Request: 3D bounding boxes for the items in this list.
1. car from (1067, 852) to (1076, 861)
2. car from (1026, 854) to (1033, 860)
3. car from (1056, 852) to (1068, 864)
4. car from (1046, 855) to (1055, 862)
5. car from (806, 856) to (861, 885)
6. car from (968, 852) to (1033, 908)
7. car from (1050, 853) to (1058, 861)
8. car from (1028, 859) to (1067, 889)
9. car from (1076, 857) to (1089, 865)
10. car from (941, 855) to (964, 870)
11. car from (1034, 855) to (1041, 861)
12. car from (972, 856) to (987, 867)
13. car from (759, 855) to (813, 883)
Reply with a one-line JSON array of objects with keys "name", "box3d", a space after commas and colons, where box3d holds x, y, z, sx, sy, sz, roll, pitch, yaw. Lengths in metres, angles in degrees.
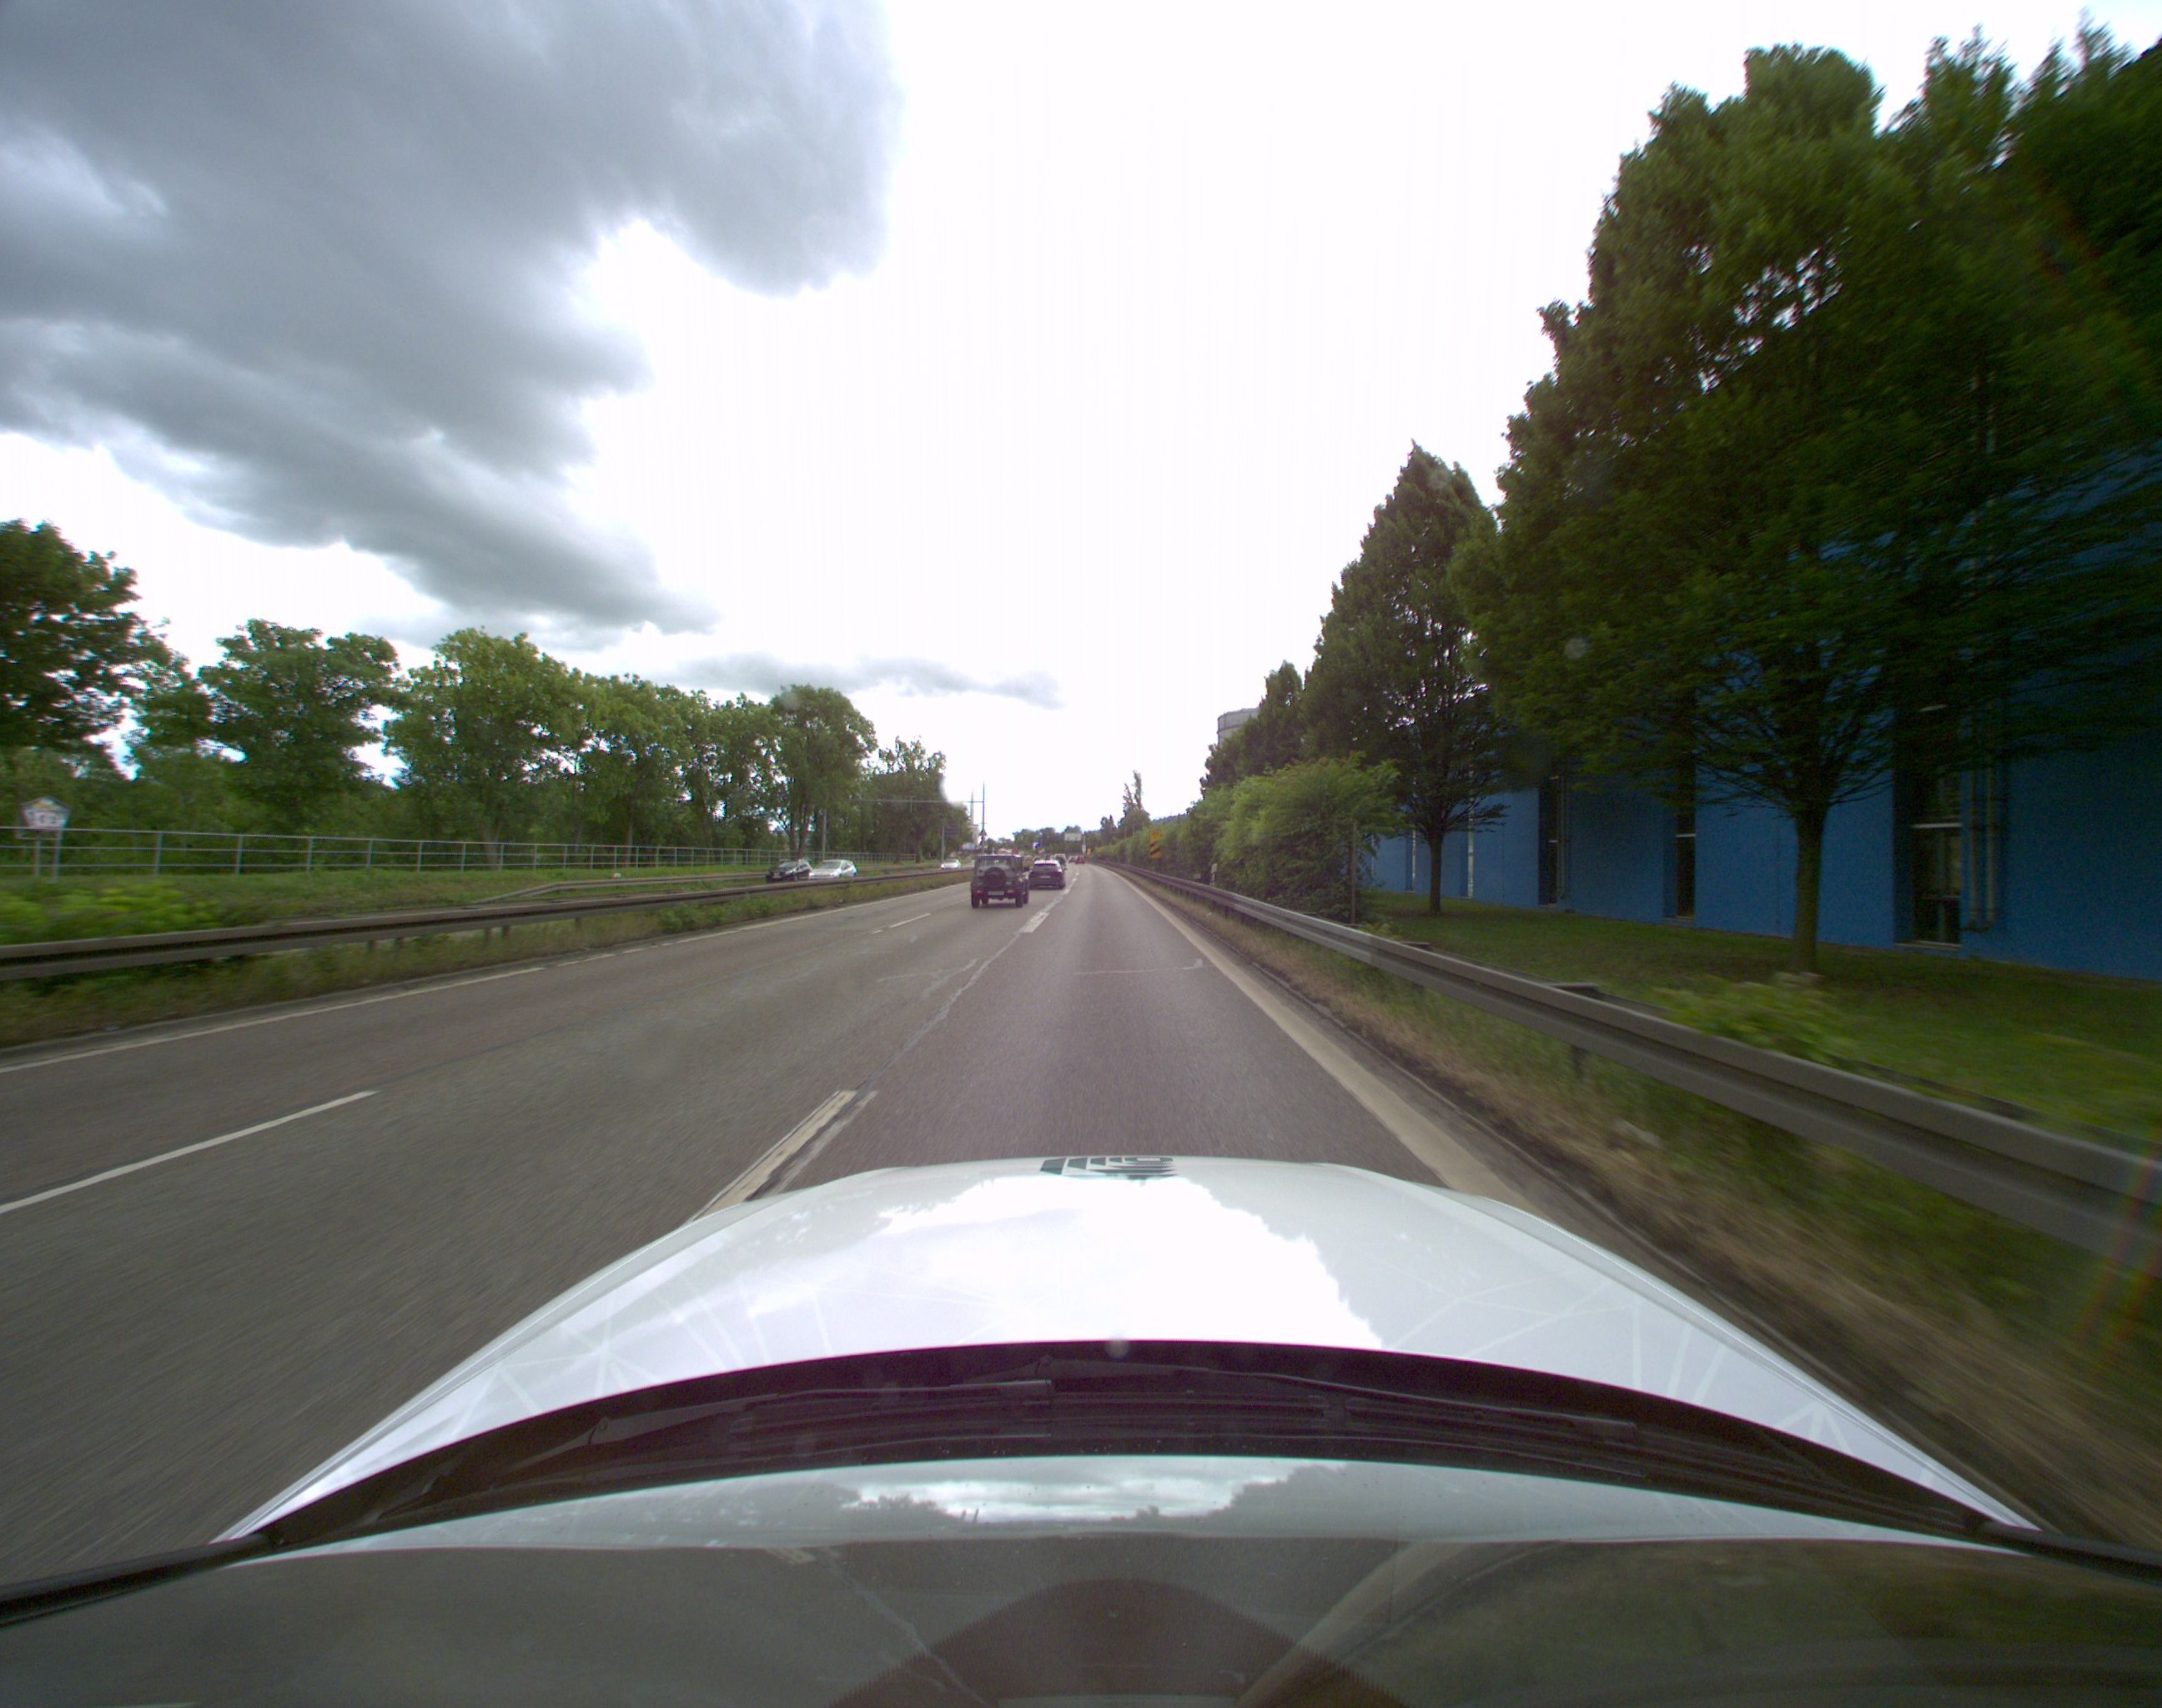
[{"name": "car", "box3d": [-2.029, 0.546, 174.190, 1.694, 1.742, 4.386, 0, 0, -4]}, {"name": "car", "box3d": [-16.030, 0.949, 254.203, 2.012, 1.934, 4.888, 0, 0, -7]}, {"name": "car", "box3d": [-2.935, 0.649, 127.101, 1.692, 1.742, 4.000, 0, 0, 1]}, {"name": "car", "box3d": [-8.456, 1.195, 224.264, 2.011, 1.934, 4.889, 0, 0, -6]}, {"name": "car", "box3d": [-14.657, 0.941, 48.522, 1.691, 1.605, 4.540, -2, 0, 2]}, {"name": "car", "box3d": [-2.605, 0.799, 27.098, 1.692, 1.686, 4.000, 0, 0, 1]}, {"name": "car", "box3d": [-6.791, 0.840, 206.240, 2.008, 1.934, 4.896, 0, 0, -2]}, {"name": "car", "box3d": [-1.769, 0.977, 42.001, 1.841, 1.423, 4.894, 1, 0, -3]}, {"name": "car", "box3d": [0.260, 1.199, 150.221, 1.971, 1.423, 4.893, 0, 0, -4]}, {"name": "car", "box3d": [-14.563, 0.932, 92.526, 1.860, 1.674, 4.719, -1, 0, 0]}, {"name": "car", "box3d": [-11.369, 1.016, 212.433, 1.695, 1.742, 4.385, -1, 0, -5]}, {"name": "car", "box3d": [-15.961, 1.147, 128.488, 1.720, 1.775, 3.742, 0, 0, 1]}, {"name": "car", "box3d": [-18.164, 0.908, 50.311, 1.720, 1.605, 4.044, -2, 0, 2]}]
